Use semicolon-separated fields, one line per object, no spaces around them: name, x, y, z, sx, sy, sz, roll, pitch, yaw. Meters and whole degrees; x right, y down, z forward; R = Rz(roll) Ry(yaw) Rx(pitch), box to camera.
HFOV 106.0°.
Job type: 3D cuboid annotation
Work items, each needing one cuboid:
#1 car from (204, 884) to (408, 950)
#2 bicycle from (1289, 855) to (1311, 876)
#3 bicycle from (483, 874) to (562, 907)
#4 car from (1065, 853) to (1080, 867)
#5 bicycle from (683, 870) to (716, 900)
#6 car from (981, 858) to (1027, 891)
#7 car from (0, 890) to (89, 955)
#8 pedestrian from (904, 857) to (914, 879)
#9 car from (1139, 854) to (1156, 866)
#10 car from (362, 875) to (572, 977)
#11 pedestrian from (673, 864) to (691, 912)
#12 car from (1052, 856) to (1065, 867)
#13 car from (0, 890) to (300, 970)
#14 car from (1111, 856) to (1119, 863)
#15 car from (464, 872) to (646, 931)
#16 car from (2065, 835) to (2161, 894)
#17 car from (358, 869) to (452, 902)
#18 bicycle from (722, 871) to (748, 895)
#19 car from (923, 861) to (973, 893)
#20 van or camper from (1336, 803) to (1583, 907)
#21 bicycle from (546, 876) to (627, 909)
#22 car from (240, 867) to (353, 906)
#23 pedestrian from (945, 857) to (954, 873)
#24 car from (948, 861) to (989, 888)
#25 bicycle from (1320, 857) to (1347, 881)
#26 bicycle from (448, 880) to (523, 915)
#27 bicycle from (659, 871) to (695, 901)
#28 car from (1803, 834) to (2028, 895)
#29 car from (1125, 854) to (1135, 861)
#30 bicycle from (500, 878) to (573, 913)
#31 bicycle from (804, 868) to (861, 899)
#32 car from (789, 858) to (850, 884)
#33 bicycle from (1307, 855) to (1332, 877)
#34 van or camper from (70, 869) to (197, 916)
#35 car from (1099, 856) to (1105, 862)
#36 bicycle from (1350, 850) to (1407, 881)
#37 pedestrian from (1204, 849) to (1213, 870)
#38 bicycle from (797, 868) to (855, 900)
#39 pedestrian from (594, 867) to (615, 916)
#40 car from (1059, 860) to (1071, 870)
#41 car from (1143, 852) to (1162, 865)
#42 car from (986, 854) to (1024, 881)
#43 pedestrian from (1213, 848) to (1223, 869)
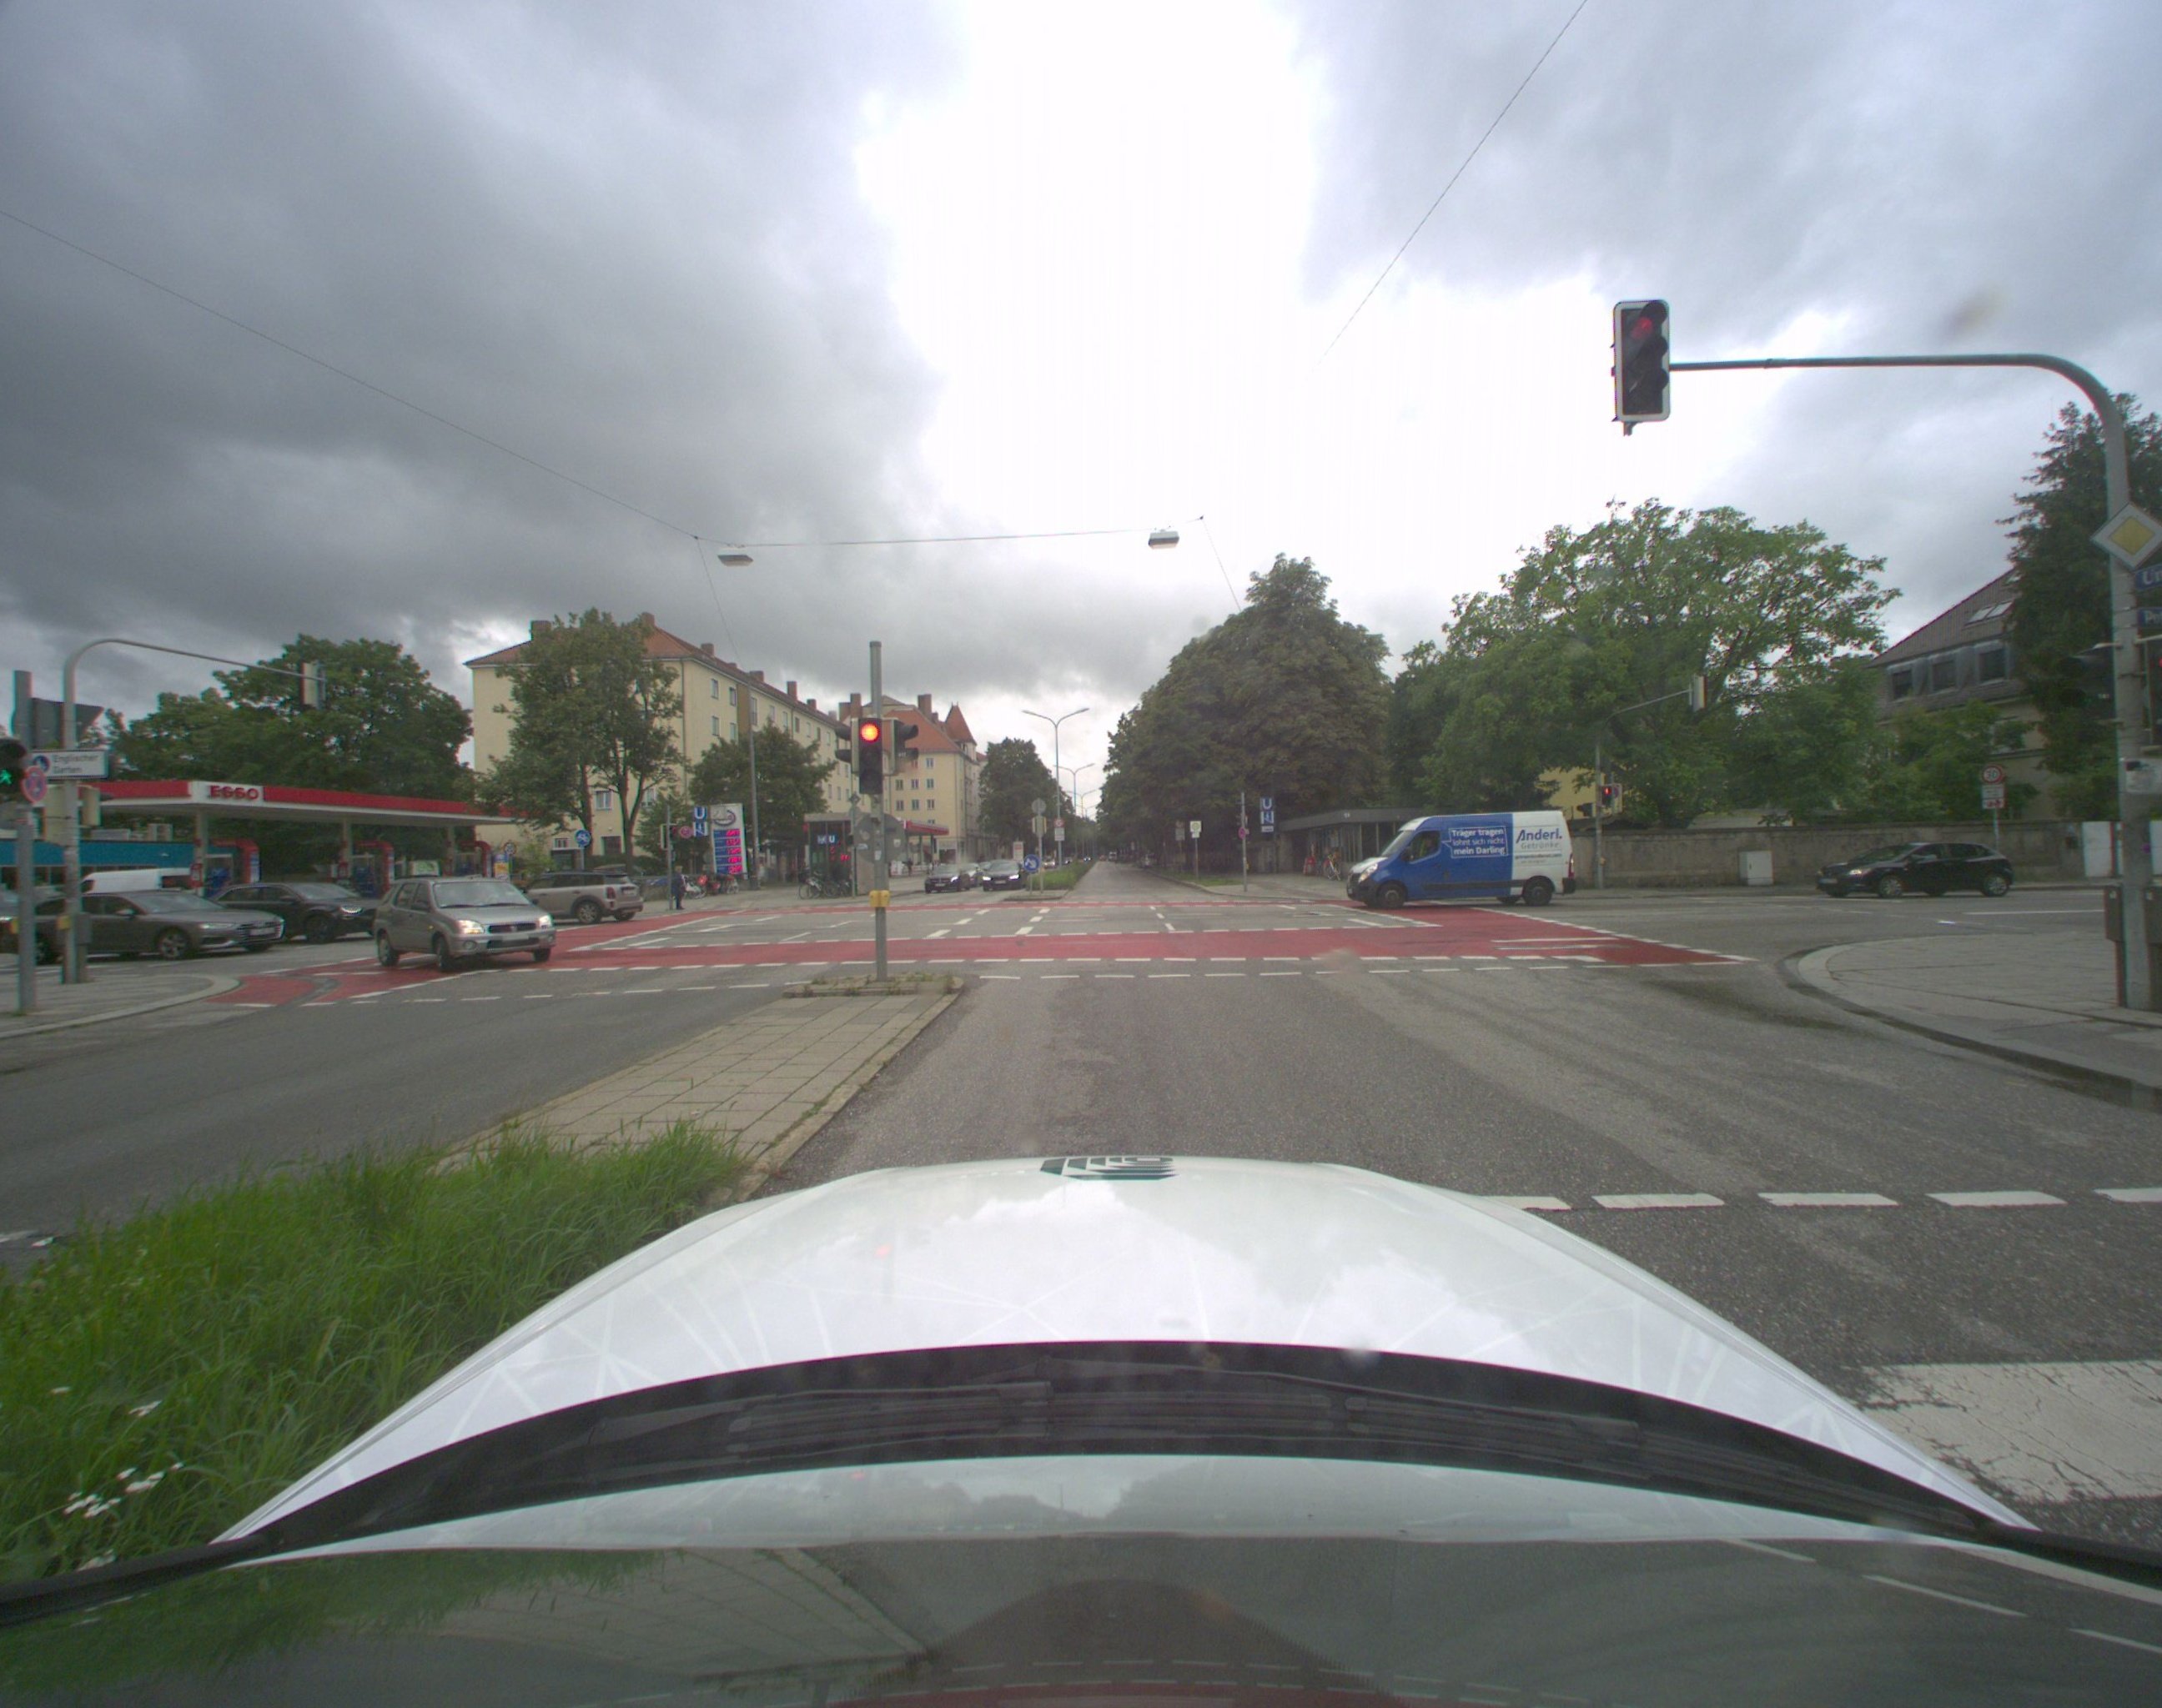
car;-19.112;1.524;20.177;3.532;1.412;1.666;-2;0;3
bicycle;11.224;0.590;41.847;0.555;1.014;2.015;-2;0;0
bicycle;-21.882;1.421;31.944;2.394;1.251;0.789;0;-1;-10
car;-0.862;0.650;85.824;1.463;1.399;3.701;-2;0;1
bicycle;-17.252;1.391;36.869;0.607;1.236;2.183;-2;0;-5
car;-3.780;0.976;40.620;1.753;1.493;4.001;-2;0;1
car;-27.737;1.739;20.499;3.317;1.514;1.694;-2;0;-2
pedestrian;-16.443;1.337;77.786;0.727;2.014;0.835;0;-1;1
car;8.109;0.738;99.708;1.737;1.363;3.807;-2;0;1
car;-10.797;1.185;14.291;3.584;1.517;1.674;-2;0;31
pedestrian;-14.563;1.231;29.754;0.536;1.695;0.572;-2;0;-24
car;-3.364;1.120;123.403;1.753;1.460;4.001;-2;0;1
car;-19.766;1.577;17.442;4.304;1.412;1.662;-2;0;-3
car;8.469;1.316;202.210;1.916;1.684;4.001;-2;0;1
car;-15.272;1.350;23.784;4.154;1.514;1.695;-2;0;0
car;27.758;0.213;20.656;3.673;1.397;1.641;-2;0;-1
car;-40.309;1.877;48.615;3.973;1.784;1.858;-2;0;1
bicycle;-17.406;1.437;41.028;0.607;1.145;1.962;-2;0;-5
car;-6.750;1.135;41.766;1.753;1.460;4.001;-2;0;1
van or camper;9.870;0.035;21.649;5.525;2.469;2.070;-2;0;5
bicycle;-19.588;1.508;32.342;2.720;1.251;0.786;0;-1;-29
car;-40.112;1.643;41.712;3.973;1.784;1.858;-2;0;1
pedestrian;-13.794;1.115;85.322;0.693;1.638;0.738;-2;0;1
car;-6.674;1.195;48.633;1.753;1.460;4.001;-2;0;1
bicycle;11.132;0.646;35.964;0.555;1.014;2.015;-2;0;0
bicycle;-22.829;1.651;31.233;2.179;1.236;0.764;-2;0;-8
bicycle;-17.862;1.404;36.060;0.607;1.236;2.183;-2;0;-5
car;21.254;0.273;20.885;3.818;1.397;1.699;-2;0;7
car;9.729;0.718;161.422;1.737;1.427;3.900;-2;0;1
bicycle;-20.895;1.580;31.285;2.180;1.236;0.763;-2;0;-10
bicycle;-10.975;1.300;36.048;2.276;1.304;0.694;-2;0;2
car;-20.014;1.269;62.464;3.976;1.838;1.879;-2;0;-2
bicycle;11.315;0.557;38.698;0.555;1.014;2.015;-2;0;0
van or camper;-51.987;2.084;44.752;4.523;2.323;1.918;-2;0;-1
car;6.220;1.604;239.418;1.850;1.684;4.001;-2;0;1
bicycle;12.266;0.480;33.603;2.130;1.218;0.604;-2;0;9
pedestrian;10.236;0.415;65.323;0.674;1.682;0.684;-2;0;7
bicycle;-11.022;1.285;35.269;2.262;1.304;0.704;-2;0;2
pedestrian;-16.712;1.312;28.580;0.593;1.695;0.571;-1;0;-29
car;-3.140;2.069;159.352;1.945;1.823;4.002;-2;0;2
car;7.862;0.525;89.693;1.737;1.363;3.807;-2;0;1
car;-4.463;0.753;48.464;1.753;1.493;4.001;-2;0;1
pedestrian;10.994;0.378;65.368;0.674;1.682;0.684;-2;0;7
